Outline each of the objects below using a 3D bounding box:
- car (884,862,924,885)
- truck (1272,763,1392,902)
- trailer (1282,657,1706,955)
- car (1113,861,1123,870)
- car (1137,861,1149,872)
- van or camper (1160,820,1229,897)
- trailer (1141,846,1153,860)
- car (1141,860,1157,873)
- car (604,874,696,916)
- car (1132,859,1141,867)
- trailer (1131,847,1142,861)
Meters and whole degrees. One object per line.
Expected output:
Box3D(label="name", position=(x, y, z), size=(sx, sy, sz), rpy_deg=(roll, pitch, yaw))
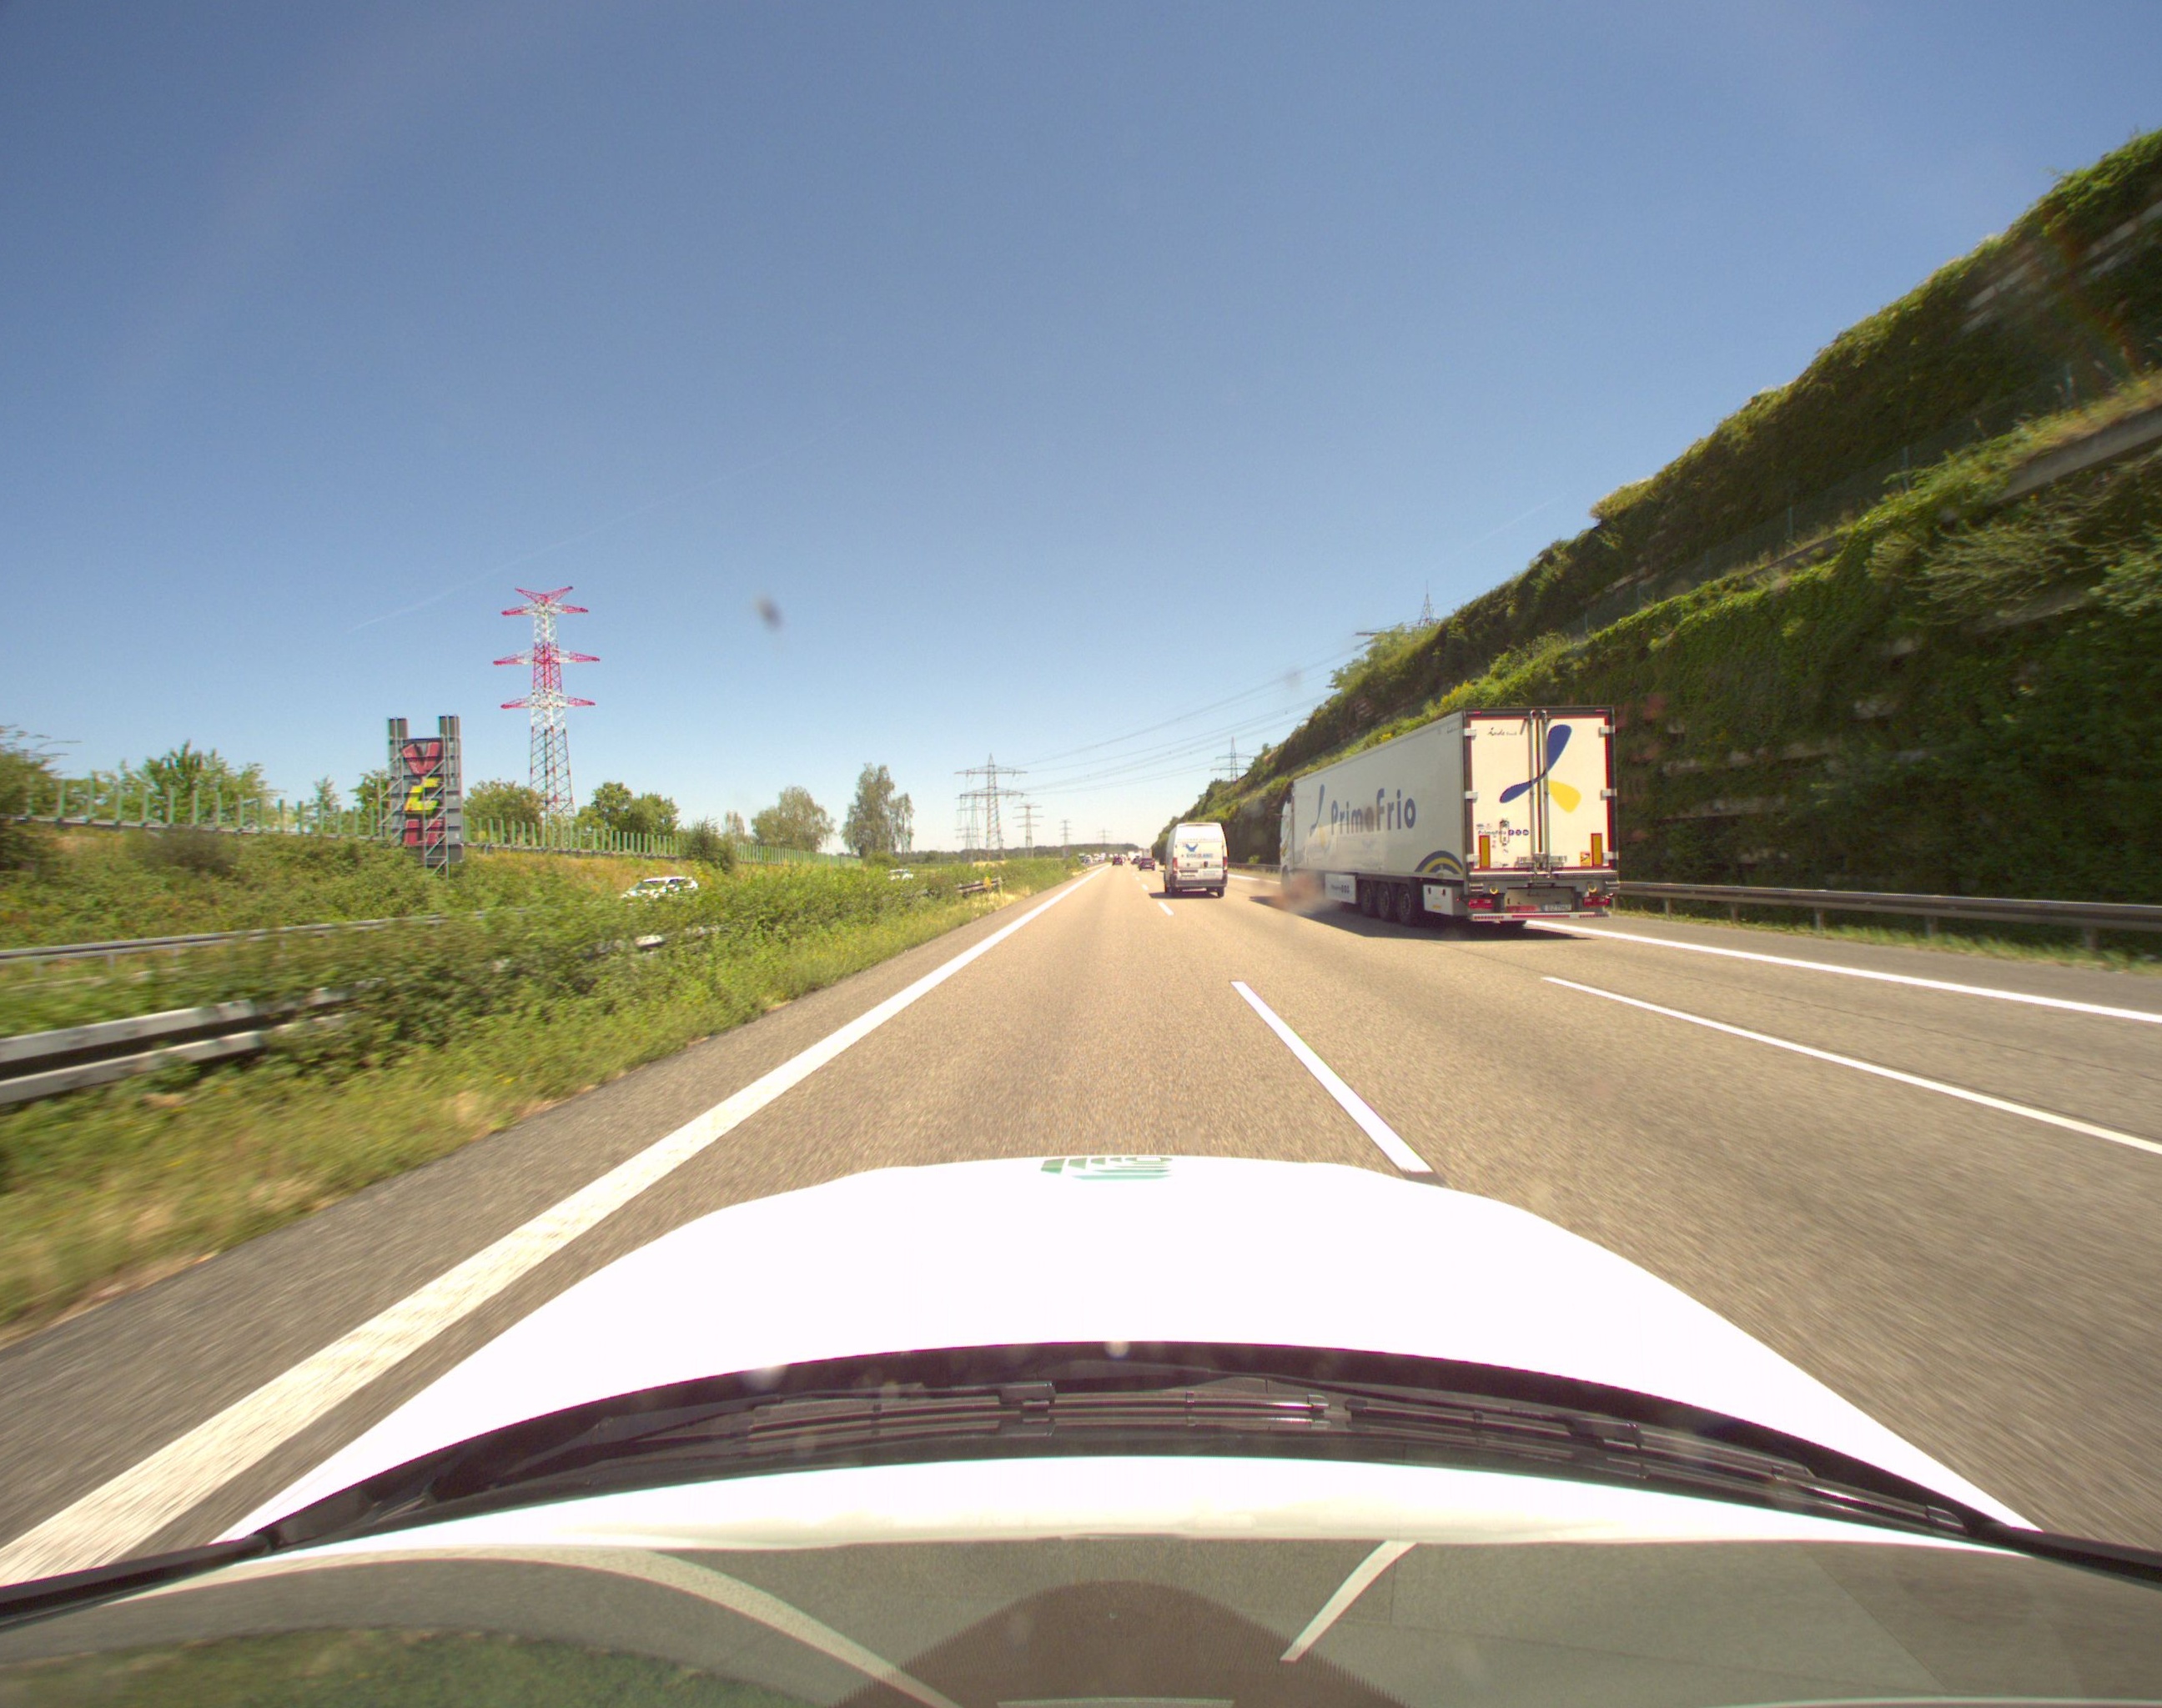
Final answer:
Box3D(label="car", position=(-14.016, 1.518, 64.858), size=(1.824, 1.682, 5.499), rpy_deg=(-2, 0, 1))
Box3D(label="truck", position=(8.362, -0.627, 27.893), size=(2.497, 4.220, 6.260), rpy_deg=(0, -1, 3))
Box3D(label="trailer", position=(7.997, -0.664, 20.147), size=(2.504, 4.212, 17.038), rpy_deg=(-1, 0, 3))
Box3D(label="car", position=(7.084, 2.128, 156.924), size=(1.822, 1.670, 4.003), rpy_deg=(-2, -1, 3))
Box3D(label="car", position=(9.341, 1.895, 123.023), size=(1.786, 1.653, 4.141), rpy_deg=(-1, 0, 3))
Box3D(label="van or camper", position=(4.449, 0.172, 32.882), size=(2.088, 2.769, 6.761), rpy_deg=(-1, 0, 3))
Box3D(label="trailer", position=(19.872, -0.334, 244.359), size=(3.169, 4.121, 13.444), rpy_deg=(-3, 0, 4))
Box3D(label="car", position=(7.944, 1.452, 95.679), size=(1.742, 1.525, 3.998), rpy_deg=(-2, 0, 3))
Box3D(label="car", position=(-19.100, 1.796, 36.310), size=(1.757, 1.596, 4.153), rpy_deg=(-3, 0, 2))
Box3D(label="car", position=(11.878, 1.850, 172.733), size=(1.821, 1.525, 4.005), rpy_deg=(-2, -1, 4))
Box3D(label="trailer", position=(13.365, 0.071, 196.379), size=(2.600, 3.213, 9.960), rpy_deg=(-2, 0, 3))
